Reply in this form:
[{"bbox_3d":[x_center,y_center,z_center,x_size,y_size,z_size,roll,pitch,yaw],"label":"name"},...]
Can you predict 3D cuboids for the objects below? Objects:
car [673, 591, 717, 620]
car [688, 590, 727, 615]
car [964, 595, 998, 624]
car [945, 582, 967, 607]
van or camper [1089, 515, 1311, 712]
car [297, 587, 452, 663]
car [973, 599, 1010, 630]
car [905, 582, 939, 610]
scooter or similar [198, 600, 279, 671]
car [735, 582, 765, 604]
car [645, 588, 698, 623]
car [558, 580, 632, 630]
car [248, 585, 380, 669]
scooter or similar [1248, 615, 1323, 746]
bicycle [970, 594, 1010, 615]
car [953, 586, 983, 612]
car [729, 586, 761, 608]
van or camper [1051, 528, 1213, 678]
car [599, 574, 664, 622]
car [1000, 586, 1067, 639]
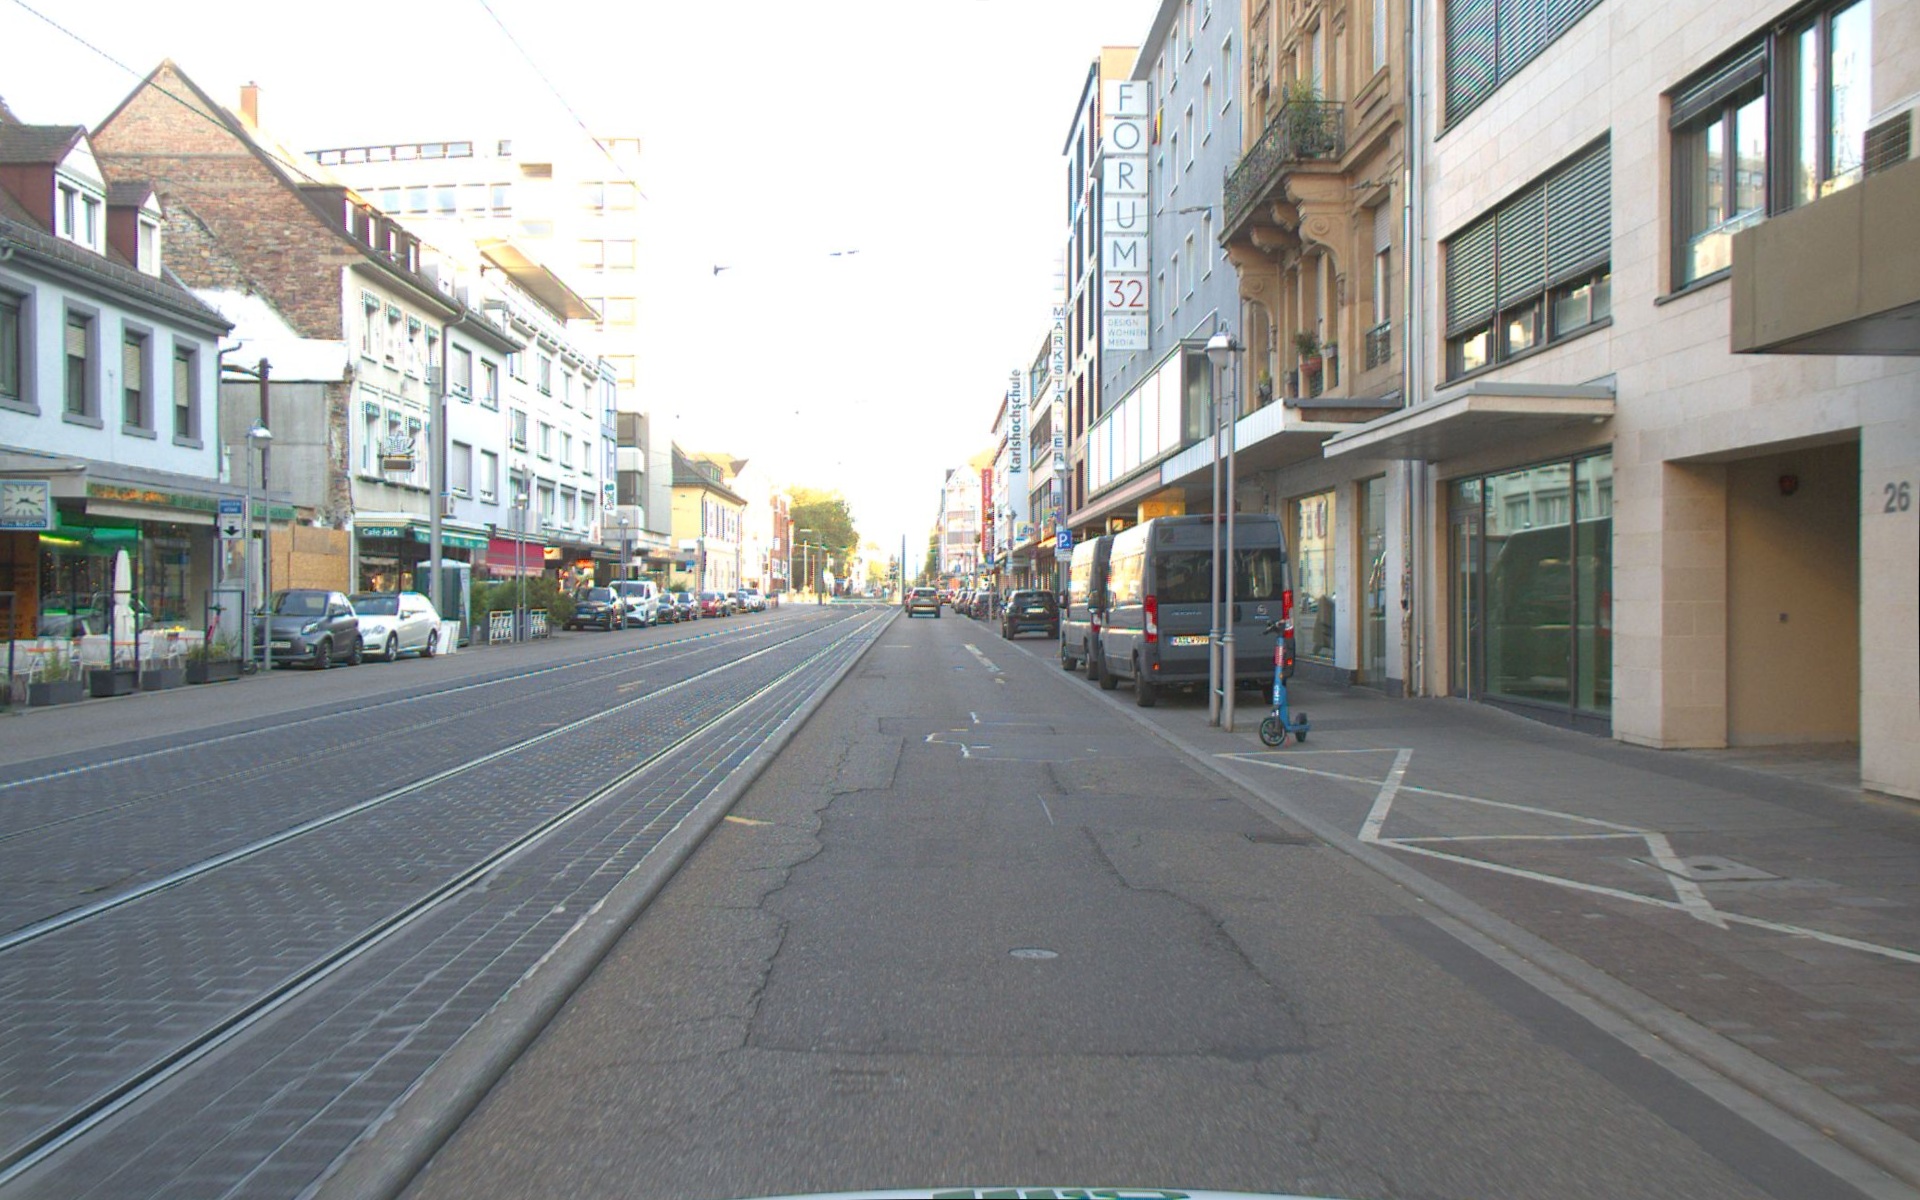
[{"bbox_3d":[-13.798,0.272,86.374,1.755,1.362,3.890,2,0,-2],"label":"car"},{"bbox_3d":[-14.626,0.116,96.115,1.755,1.362,3.890,2,0,-2],"label":"car"},{"bbox_3d":[1.211,0.548,98.247,1.904,1.572,4.544,-2,0,-1],"label":"car"},{"bbox_3d":[-0.421,-0.549,151.611,1.904,2.183,4.544,-2,0,-1],"label":"car"},{"bbox_3d":[3.344,0.156,24.413,2.144,2.468,6.130,-2,0,-2],"label":"van or camper"},{"bbox_3d":[-13.144,0.514,37.469,1.812,1.530,4.841,2,0,-1],"label":"car"},{"bbox_3d":[1.722,0.780,91.727,1.904,1.572,4.544,-2,0,-1],"label":"car"},{"bbox_3d":[-2.146,-0.237,95.053,1.904,1.572,4.544,1,0,-1],"label":"car"},{"bbox_3d":[-13.005,0.640,29.822,1.287,1.226,0.294,2,0,-1],"label":"scooter or similar"},{"bbox_3d":[-15.307,-0.520,120.822,1.755,1.474,3.890,2,0,-2],"label":"car"},{"bbox_3d":[-13.934,0.255,80.074,1.879,1.547,4.628,2,0,-2],"label":"car"},{"bbox_3d":[-14.174,0.190,64.421,1.878,1.793,4.429,2,0,-1],"label":"car"},{"bbox_3d":[-12.890,0.512,33.128,1.559,1.530,2.811,2,0,-2],"label":"car"},{"bbox_3d":[3.296,0.794,16.681,0.347,1.245,1.113,-2,0,31],"label":"scooter or similar"},{"bbox_3d":[1.614,0.259,87.948,2.077,1.109,0.591,0,0,-4],"label":"bicycle"},{"bbox_3d":[0.533,-0.082,113.138,1.904,1.733,4.544,-2,0,-1],"label":"car"},{"bbox_3d":[-14.891,-0.219,114.793,1.755,1.474,3.890,2,0,-2],"label":"car"},{"bbox_3d":[3.080,0.038,30.885,2.145,2.468,5.515,-2,0,-3],"label":"van or camper"},{"bbox_3d":[-14.259,-0.097,72.121,1.878,1.969,4.841,2,0,-1],"label":"car"},{"bbox_3d":[2.330,0.369,53.470,1.904,1.572,4.544,-2,0,-1],"label":"car"}]
